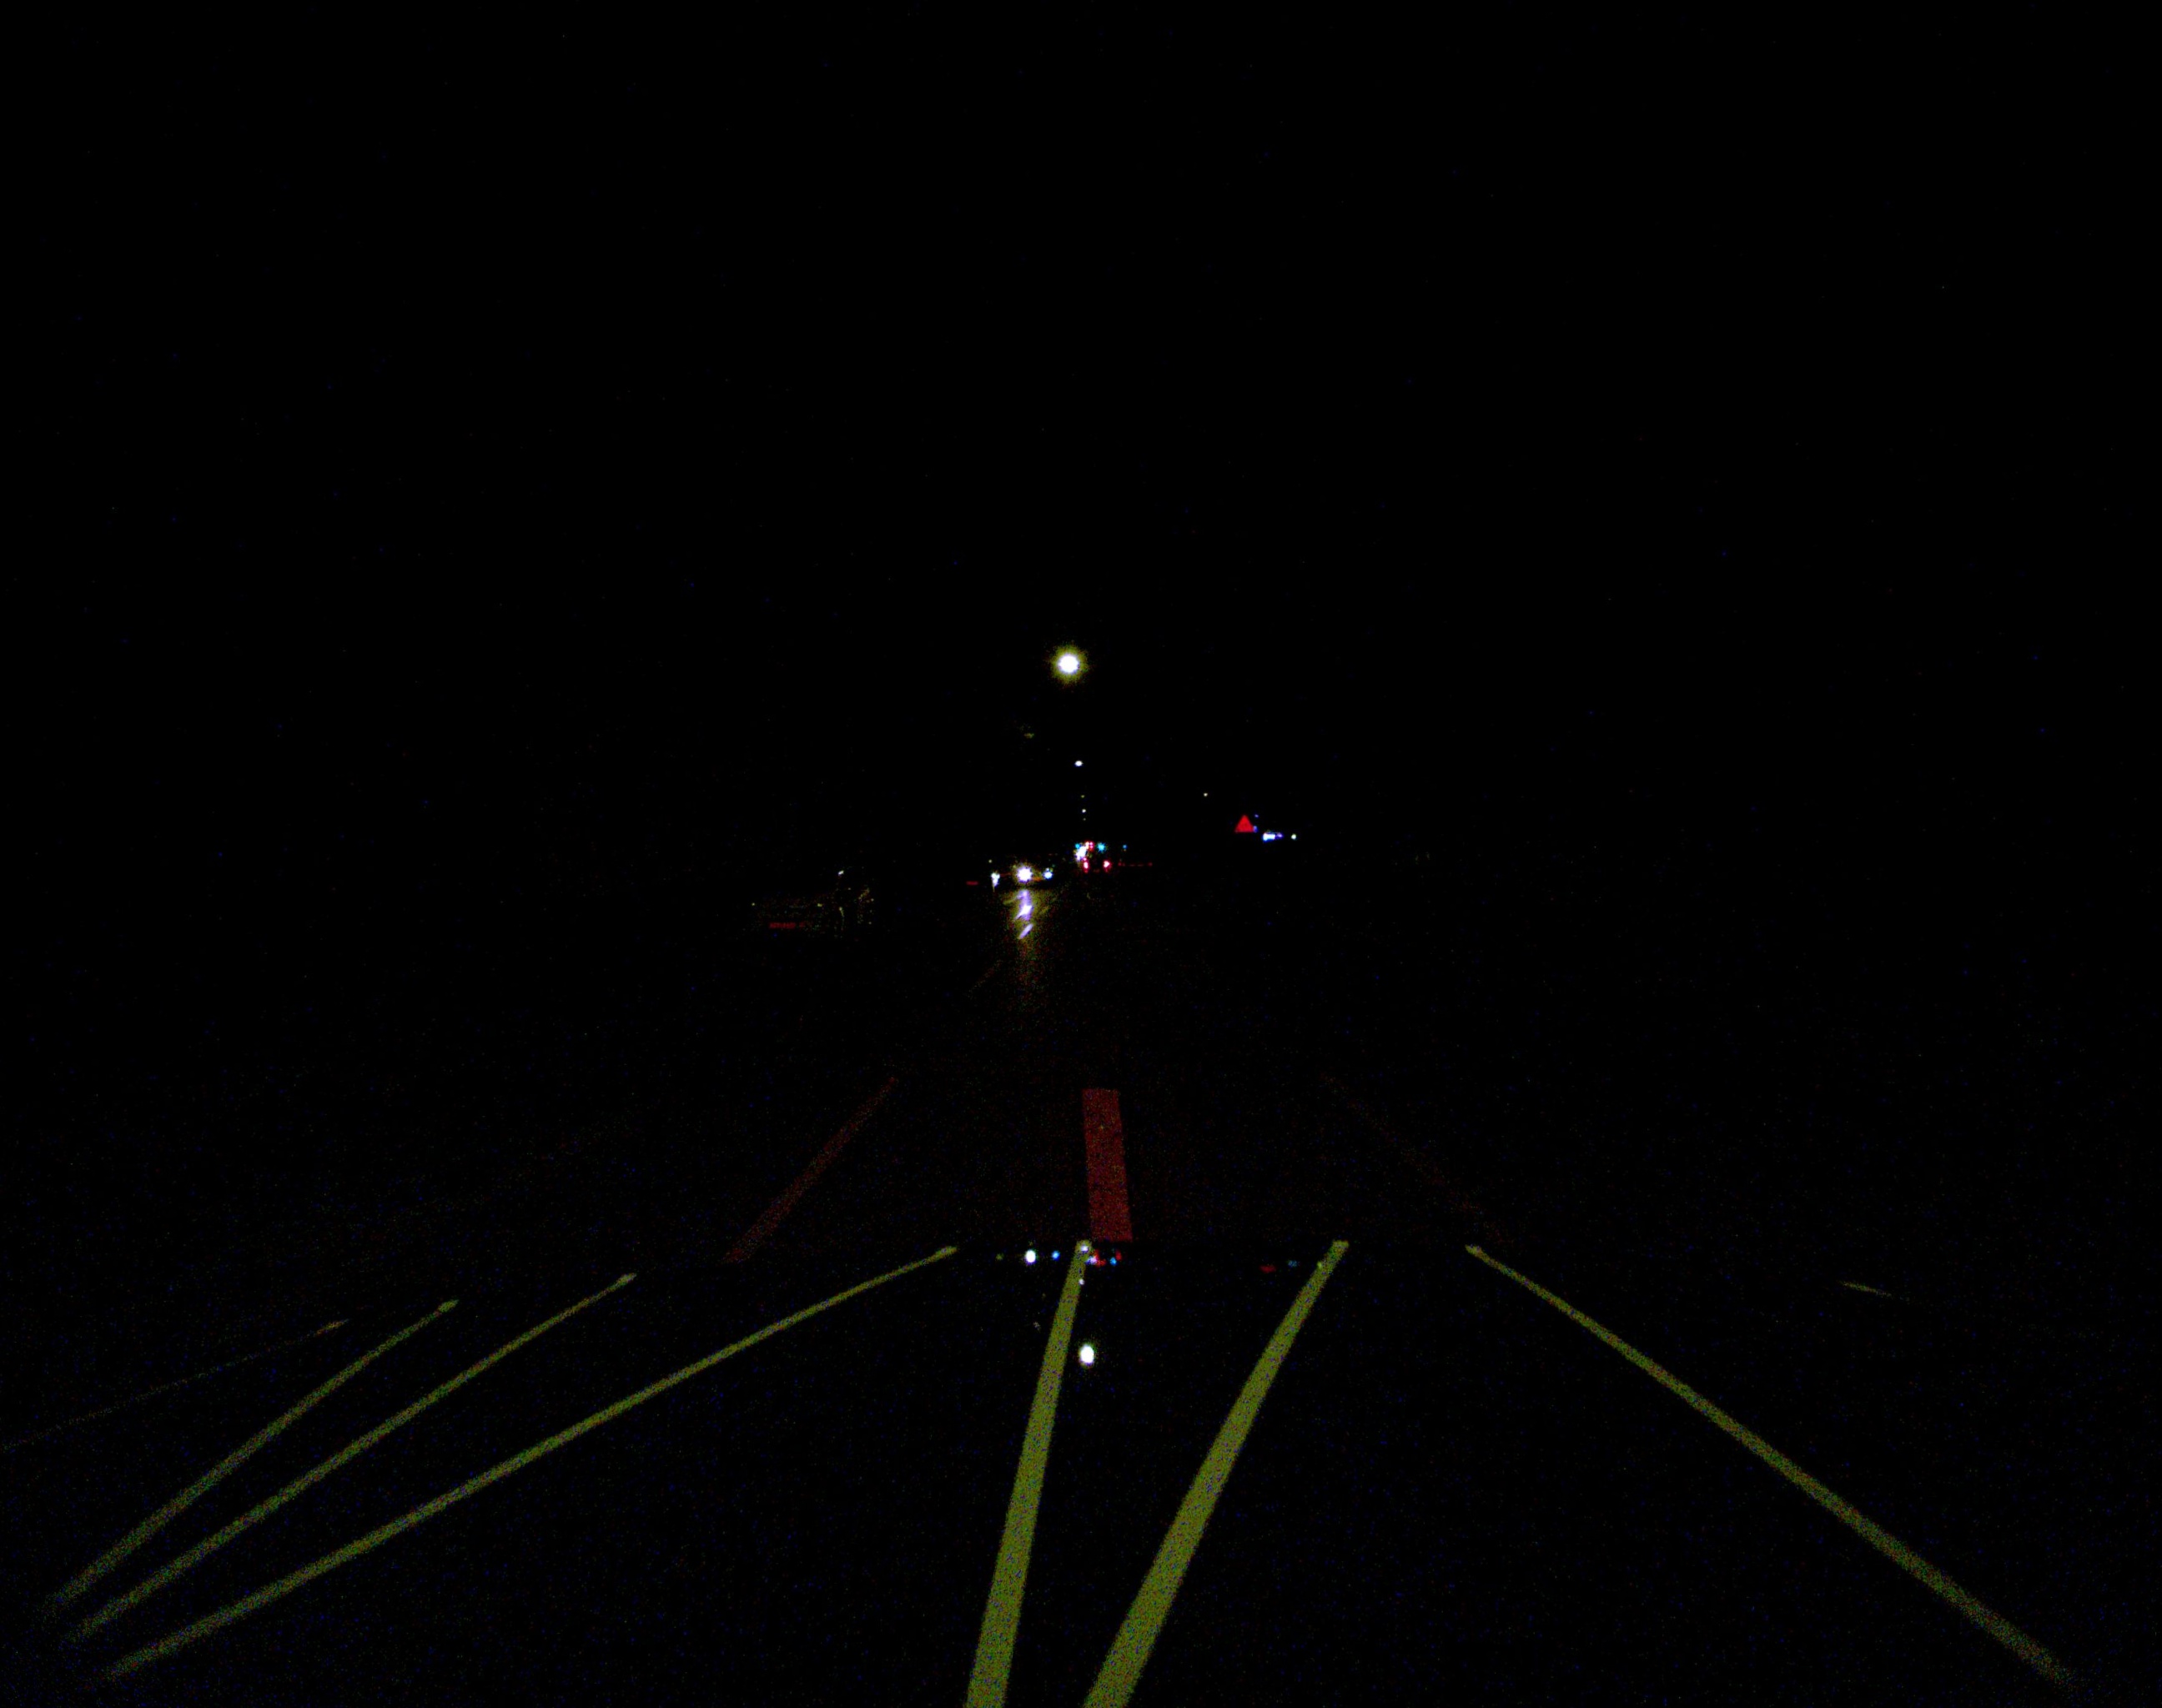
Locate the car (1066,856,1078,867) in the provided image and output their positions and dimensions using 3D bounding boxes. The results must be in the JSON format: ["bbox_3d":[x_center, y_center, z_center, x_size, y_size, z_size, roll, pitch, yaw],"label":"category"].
[{"bbox_3d":[-1.516,1.281,134.845,1.998,1.718,3.803,-2,1,1],"label":"car"}]

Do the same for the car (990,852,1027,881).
[{"bbox_3d":[-4.457,0.748,47.475,1.852,1.643,4.179,-2,0,0],"label":"car"}]

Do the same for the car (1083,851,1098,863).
[{"bbox_3d":[1.471,0.455,113.748,1.903,1.581,3.661,-2,1,4],"label":"car"}]

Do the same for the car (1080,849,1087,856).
[{"bbox_3d":[0.776,-0.465,219.984,1.998,1.740,3.999,-2,1,1],"label":"car"}]

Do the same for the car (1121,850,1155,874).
[{"bbox_3d":[3.893,0.509,52.076,1.998,1.477,3.999,-3,1,1],"label":"car"}]

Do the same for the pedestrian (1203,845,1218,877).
[{"bbox_3d":[7.166,0.371,41.991,0.673,1.750,0.500,-2,1,1],"label":"pedestrian"}]

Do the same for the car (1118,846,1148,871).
[{"bbox_3d":[3.875,0.305,56.962,1.998,1.772,3.999,-2,1,1],"label":"car"}]

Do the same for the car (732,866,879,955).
[{"bbox_3d":[-5.289,1.024,15.062,1.611,1.500,3.486,0,0,1],"label":"car"}]

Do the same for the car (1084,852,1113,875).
[{"bbox_3d":[1.132,0.670,51.822,1.755,1.433,3.487,-2,-2,-2],"label":"car"}]

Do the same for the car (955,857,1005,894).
[{"bbox_3d":[-4.467,0.902,33.942,1.742,1.489,3.890,-1,0,-1],"label":"car"}]

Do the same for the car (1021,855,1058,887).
[{"bbox_3d":[-2.102,0.836,39.466,1.780,1.477,3.999,-2,1,-1],"label":"car"}]
